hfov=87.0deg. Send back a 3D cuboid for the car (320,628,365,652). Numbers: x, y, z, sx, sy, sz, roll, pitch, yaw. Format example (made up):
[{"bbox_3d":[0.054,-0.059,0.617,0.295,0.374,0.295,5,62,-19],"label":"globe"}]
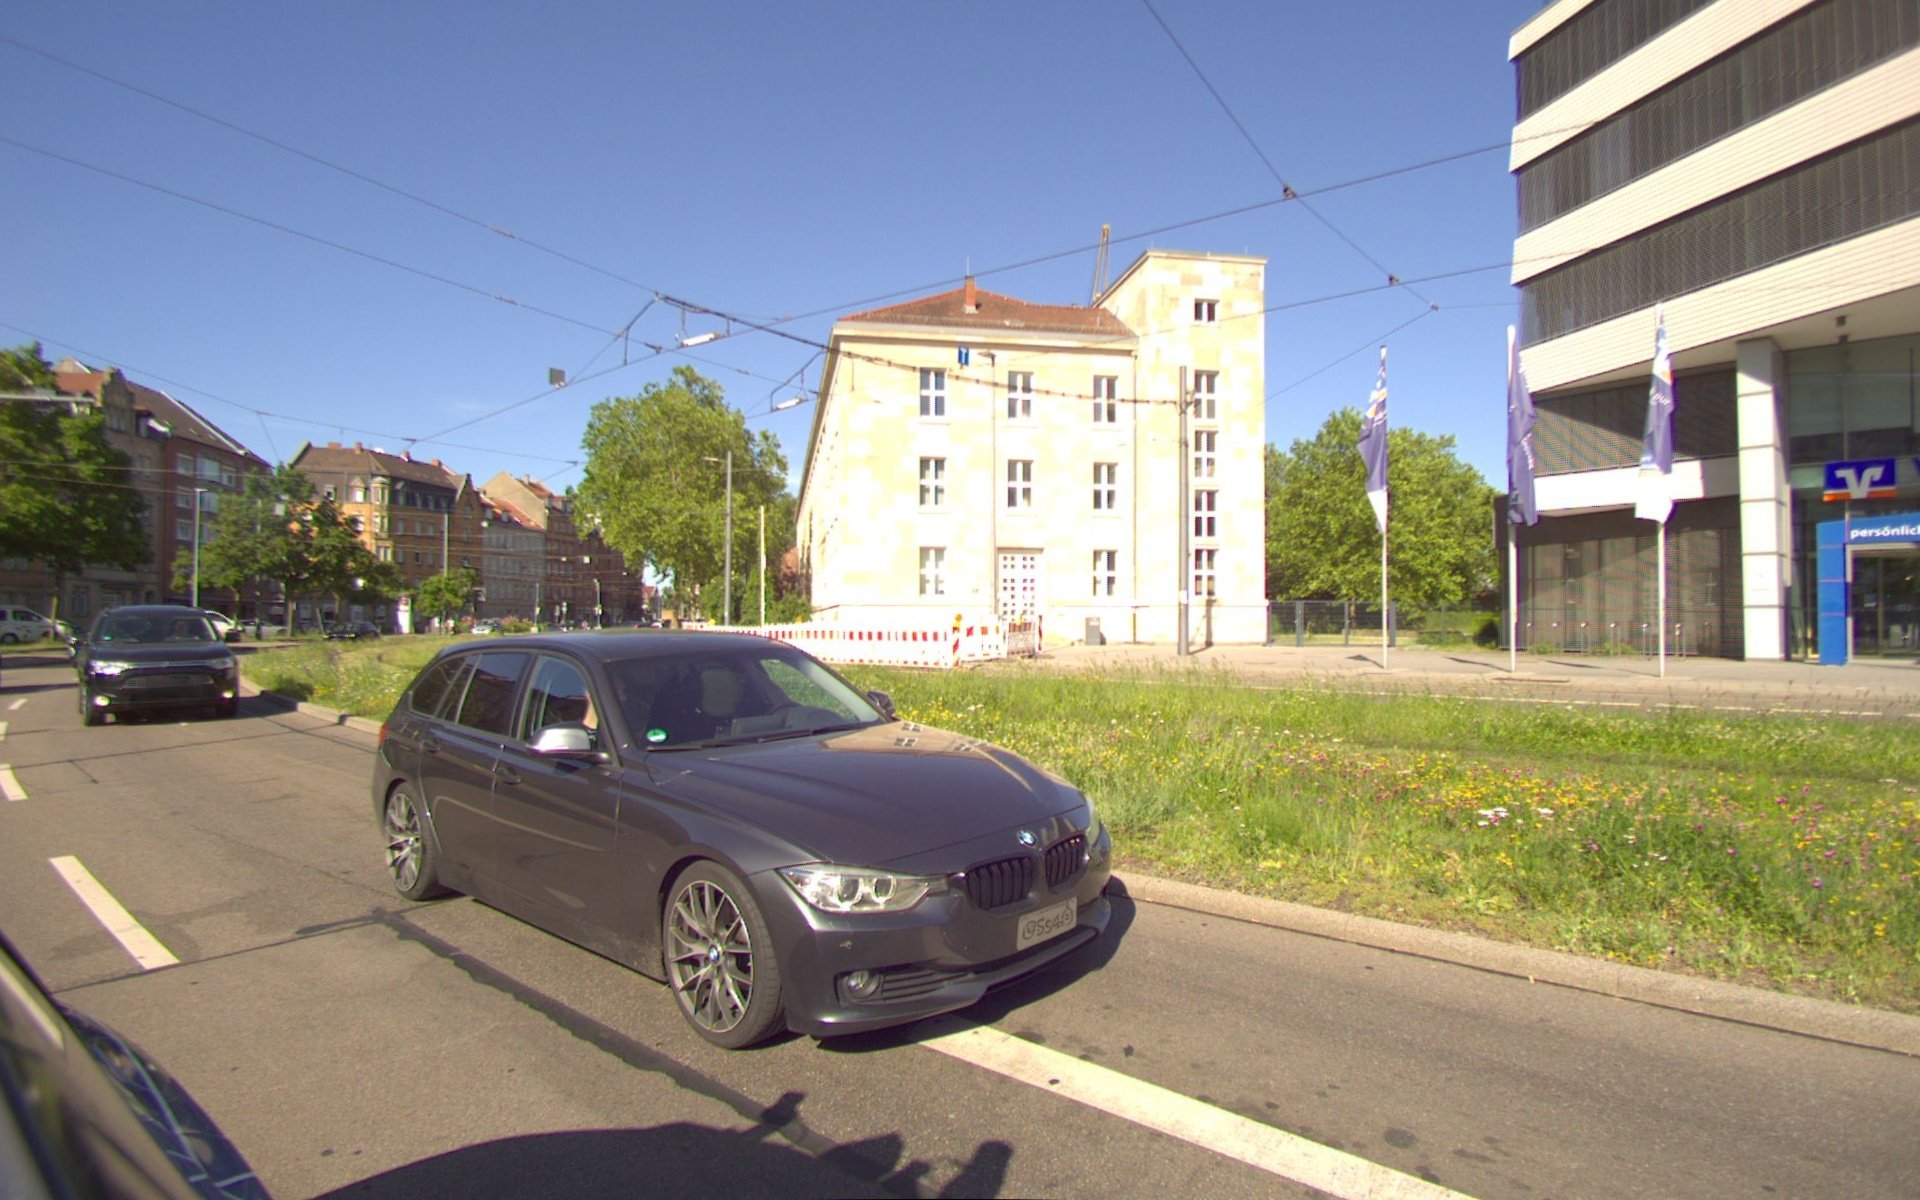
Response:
[{"bbox_3d":[-38.143,2.450,62.577,1.858,1.438,4.390,0,-2,-25],"label":"car"}]

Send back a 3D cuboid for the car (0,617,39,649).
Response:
[{"bbox_3d":[-46.187,1.533,47.738,3.970,1.490,1.814,4,-3,-44],"label":"car"}]

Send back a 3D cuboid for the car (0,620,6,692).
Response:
[{"bbox_3d":[-21.578,1.237,21.077,1.772,1.648,4.405,1,-1,-34],"label":"car"}]

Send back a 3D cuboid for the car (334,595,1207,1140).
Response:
[{"bbox_3d":[-1.266,0.766,4.875,4.465,1.434,1.716,-1,1,41],"label":"car"}]

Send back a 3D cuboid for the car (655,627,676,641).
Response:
[{"bbox_3d":[-32.978,3.801,113.491,1.806,1.464,4.179,1,-2,-10],"label":"car"}]

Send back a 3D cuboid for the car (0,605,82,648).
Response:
[{"bbox_3d":[-47.281,1.304,50.504,5.105,2.028,2.104,3,-2,-40],"label":"car"}]

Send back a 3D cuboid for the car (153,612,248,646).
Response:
[{"bbox_3d":[-50.885,1.957,67.849,2.022,2.091,4.809,-1,-4,45],"label":"car"}]

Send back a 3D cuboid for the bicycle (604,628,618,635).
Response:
[{"bbox_3d":[-57.076,5.136,165.460,1.896,1.146,0.843,1,-2,5],"label":"bicycle"}]

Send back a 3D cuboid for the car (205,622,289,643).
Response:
[{"bbox_3d":[-52.575,2.400,74.657,4.807,1.446,2.022,4,-4,-44],"label":"car"}]

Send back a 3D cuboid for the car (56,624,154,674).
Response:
[{"bbox_3d":[-30.019,1.663,35.671,1.966,1.629,4.276,1,-2,-31],"label":"car"}]

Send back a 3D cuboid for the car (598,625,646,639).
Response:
[{"bbox_3d":[-39.216,3.727,117.475,4.901,1.464,1.832,1,-2,7],"label":"car"}]

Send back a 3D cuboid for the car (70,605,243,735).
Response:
[{"bbox_3d":[-12.479,0.964,15.596,1.814,1.695,4.648,0,-1,-42],"label":"car"}]
